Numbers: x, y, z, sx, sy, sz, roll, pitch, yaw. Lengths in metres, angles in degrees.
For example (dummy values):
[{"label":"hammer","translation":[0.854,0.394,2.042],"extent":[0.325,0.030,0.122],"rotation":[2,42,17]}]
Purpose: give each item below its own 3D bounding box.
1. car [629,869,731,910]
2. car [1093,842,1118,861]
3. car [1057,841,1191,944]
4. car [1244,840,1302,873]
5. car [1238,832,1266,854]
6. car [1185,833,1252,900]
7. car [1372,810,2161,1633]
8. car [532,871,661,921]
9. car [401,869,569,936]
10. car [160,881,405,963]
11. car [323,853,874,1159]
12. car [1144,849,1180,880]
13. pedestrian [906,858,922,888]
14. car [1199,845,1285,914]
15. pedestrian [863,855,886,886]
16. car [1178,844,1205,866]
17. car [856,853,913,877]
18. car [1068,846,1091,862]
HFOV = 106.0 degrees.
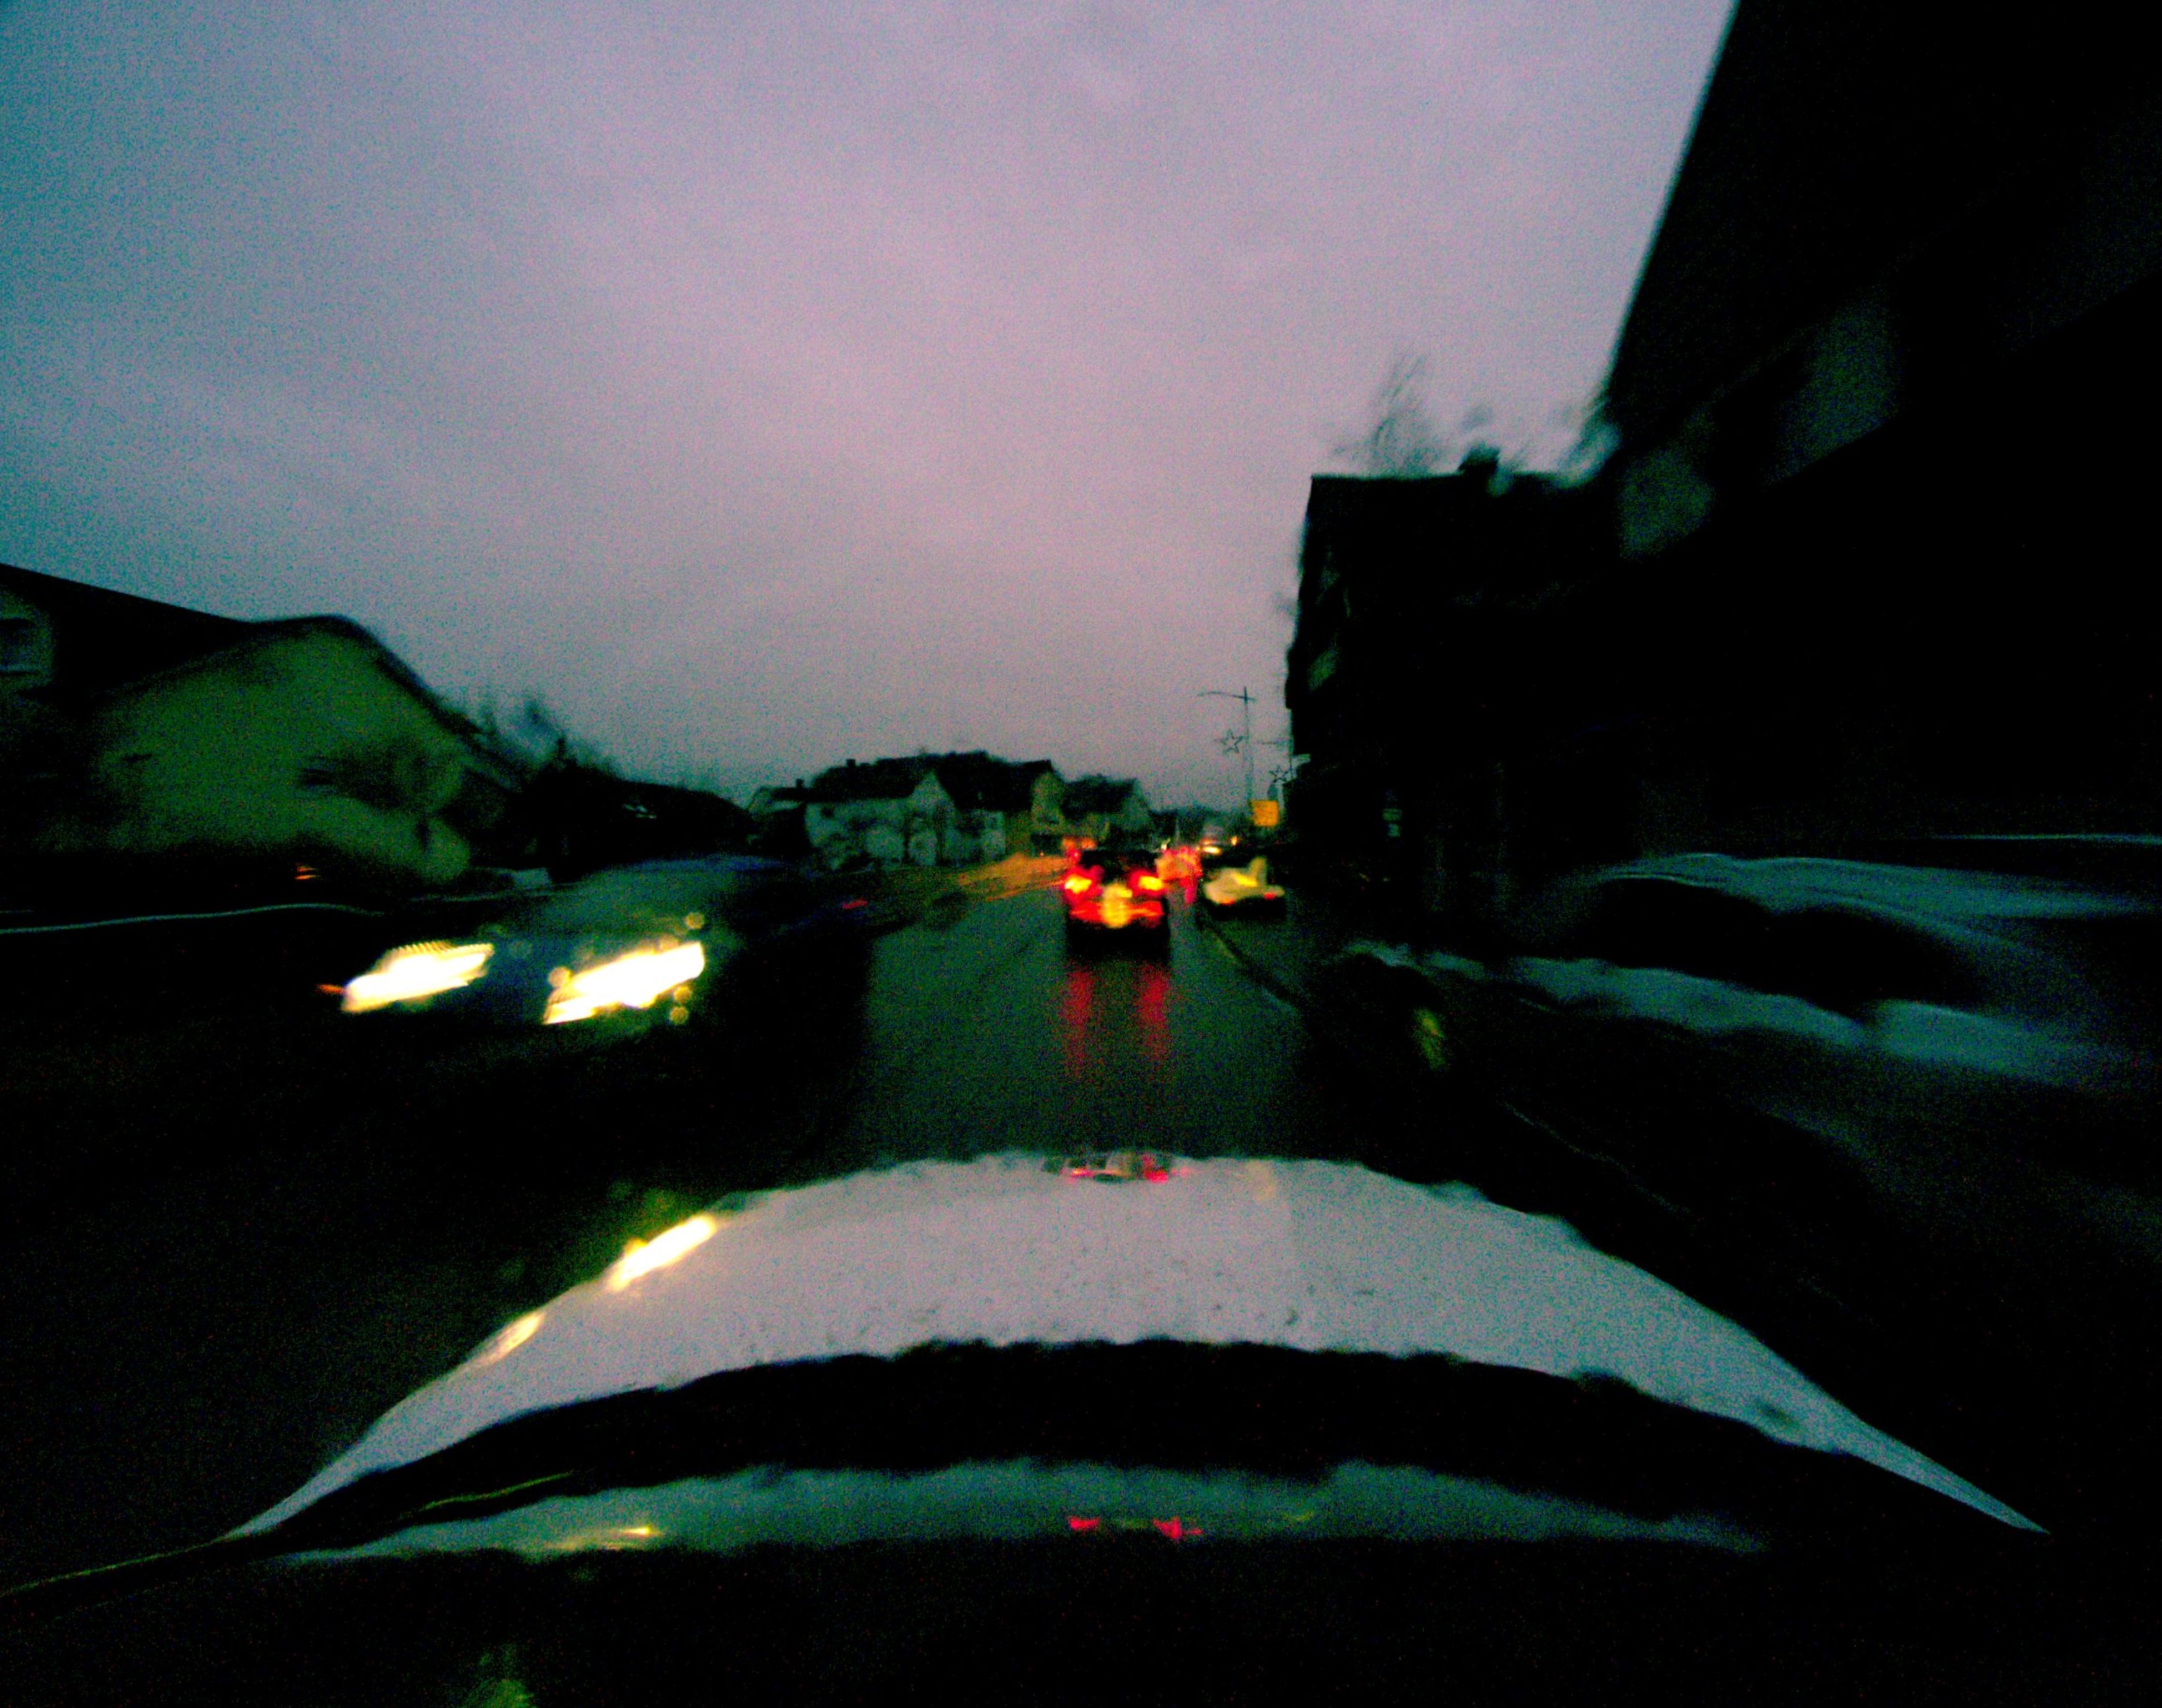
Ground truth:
[{"label":"car","translation":[-18.271,1.578,37.354],"extent":[1.863,1.433,4.512],"rotation":[-4,1,8]},{"label":"car","translation":[2.610,-0.297,88.115],"extent":[2.036,1.925,4.046],"rotation":[-3,1,-8]},{"label":"car","translation":[0.649,0.584,15.387],"extent":[1.961,1.594,4.307],"rotation":[-1,1,-4]},{"label":"car","translation":[9.143,0.112,39.091],"extent":[1.760,1.393,3.913],"rotation":[-4,0,0]},{"label":"car","translation":[17.551,-1.156,83.427],"extent":[2.140,1.991,4.521],"rotation":[-6,-1,19]},{"label":"car","translation":[4.255,0.326,25.414],"extent":[1.759,1.782,4.010],"rotation":[-5,0,9]},{"label":"car","translation":[2.826,0.640,3.519],"extent":[1.646,1.455,4.240],"rotation":[-4,0,2]},{"label":"car","translation":[-19.131,1.599,32.425],"extent":[1.863,1.572,4.512],"rotation":[-4,1,8]},{"label":"car","translation":[-19.740,1.529,27.264],"extent":[1.864,1.778,4.510],"rotation":[-4,1,6]},{"label":"car","translation":[-20.537,1.681,21.249],"extent":[1.864,1.598,4.233],"rotation":[-4,1,6]},{"label":"car","translation":[-2.947,0.772,6.044],"extent":[1.725,1.536,3.783],"rotation":[0,0,2]},{"label":"car","translation":[3.950,0.486,39.963],"extent":[1.674,1.453,4.006],"rotation":[0,0,5]},{"label":"pedestrian","translation":[-9.702,1.107,47.288],"extent":[0.658,1.697,0.543],"rotation":[-1,0,14]},{"label":"car","translation":[3.806,0.560,19.611],"extent":[1.638,1.415,2.731],"rotation":[-5,0,5]},{"label":"pedestrian","translation":[-12.107,0.943,47.730],"extent":[0.921,1.784,0.977],"rotation":[-1,1,14]},{"label":"car","translation":[7.798,0.031,57.514],"extent":[1.804,1.412,4.009],"rotation":[-1,1,7]},{"label":"car","translation":[-16.008,0.906,66.284],"extent":[3.962,1.694,1.870],"rotation":[-4,0,10]},{"label":"car","translation":[-0.186,-0.049,88.847],"extent":[1.820,1.612,4.046],"rotation":[-3,1,-8]}]
